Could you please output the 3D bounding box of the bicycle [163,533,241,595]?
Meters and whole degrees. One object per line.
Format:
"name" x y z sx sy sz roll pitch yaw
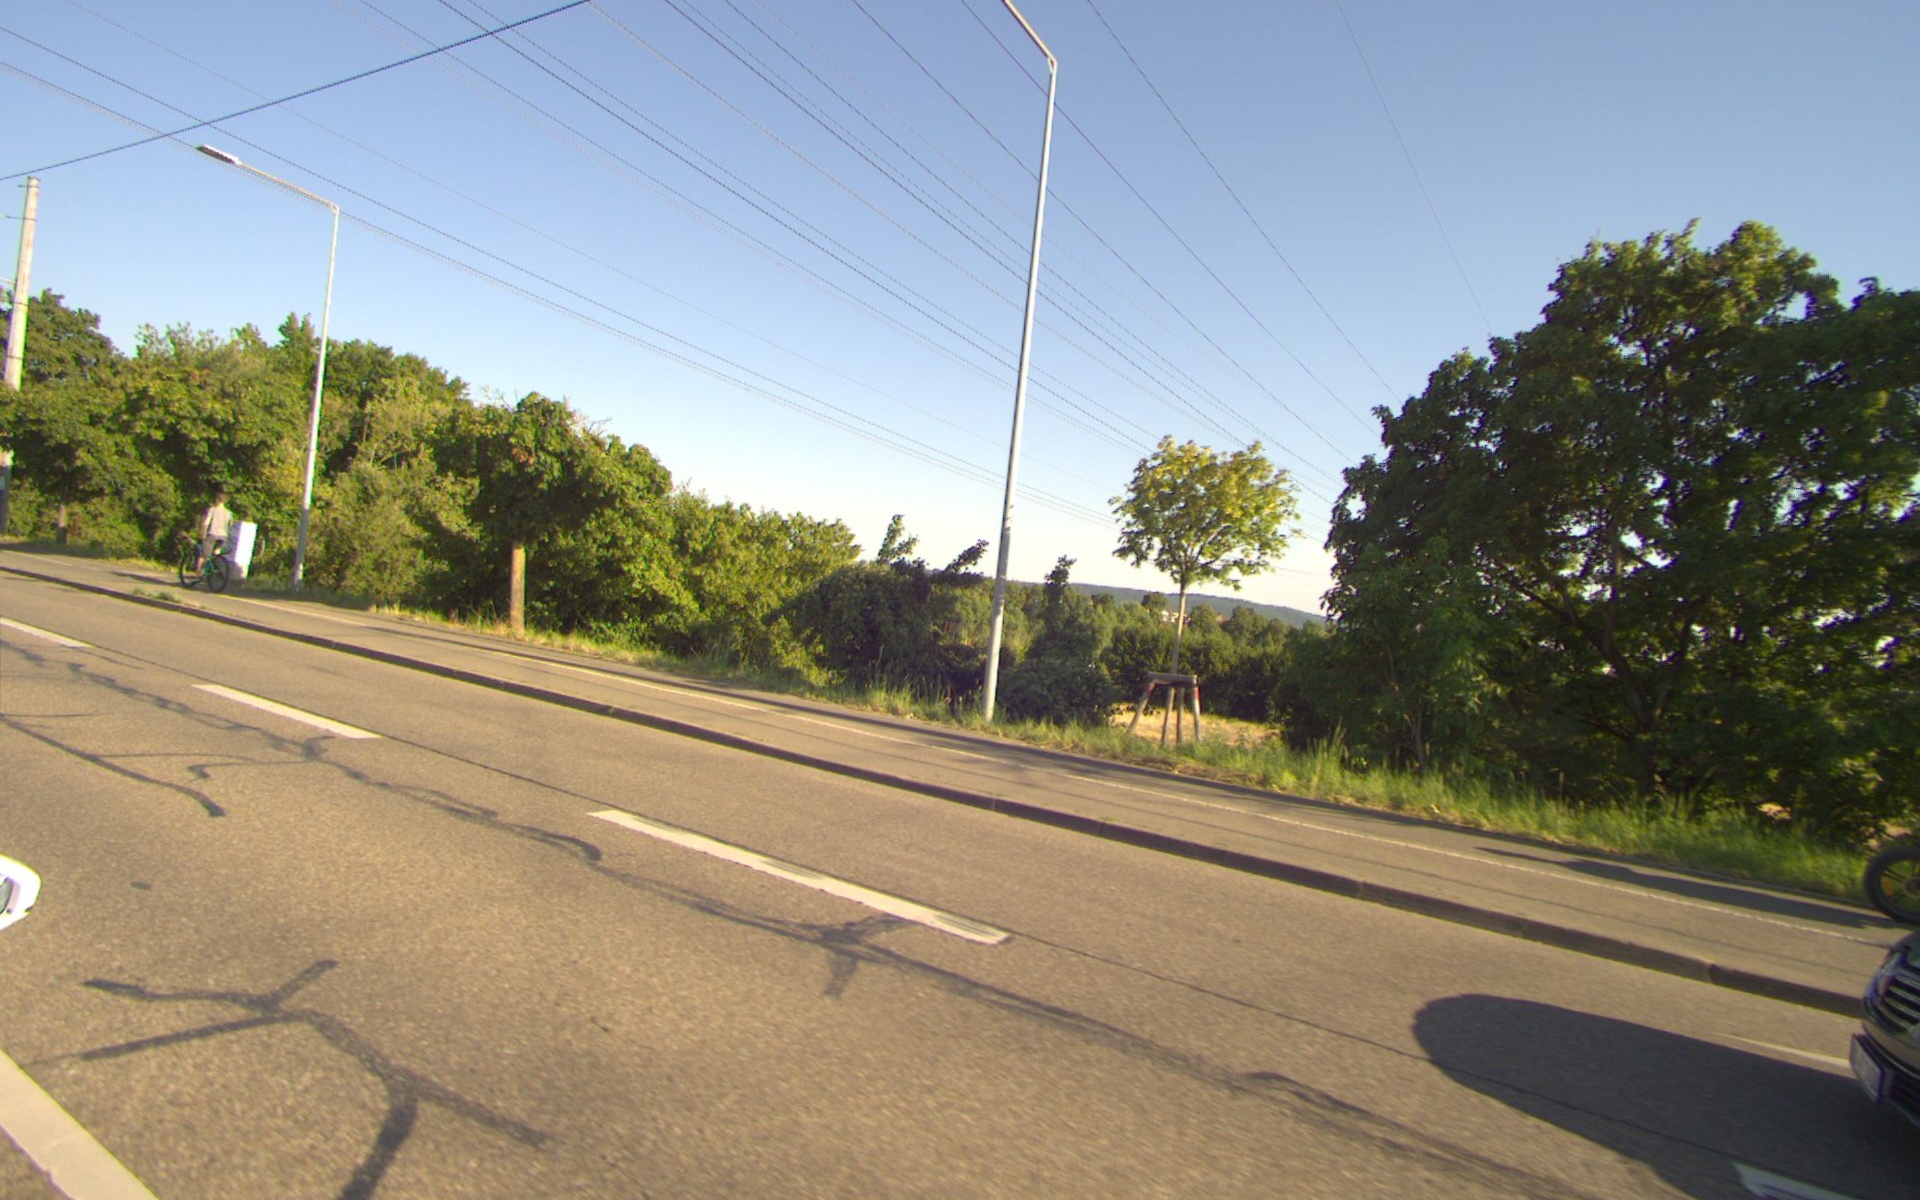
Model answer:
"bicycle" -15.490 -0.746 20.534 1.939 1.072 0.528 6 -2 33

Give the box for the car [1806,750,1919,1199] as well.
"car" 5.442 1.531 2.663 4.585 1.460 1.879 6 -2 34

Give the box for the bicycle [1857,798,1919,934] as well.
"bicycle" 7.509 2.010 7.089 1.608 0.845 0.626 6 3 32

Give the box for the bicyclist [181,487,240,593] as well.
"bicyclist" -15.189 -1.209 20.387 0.717 2.040 0.528 6 -2 33
